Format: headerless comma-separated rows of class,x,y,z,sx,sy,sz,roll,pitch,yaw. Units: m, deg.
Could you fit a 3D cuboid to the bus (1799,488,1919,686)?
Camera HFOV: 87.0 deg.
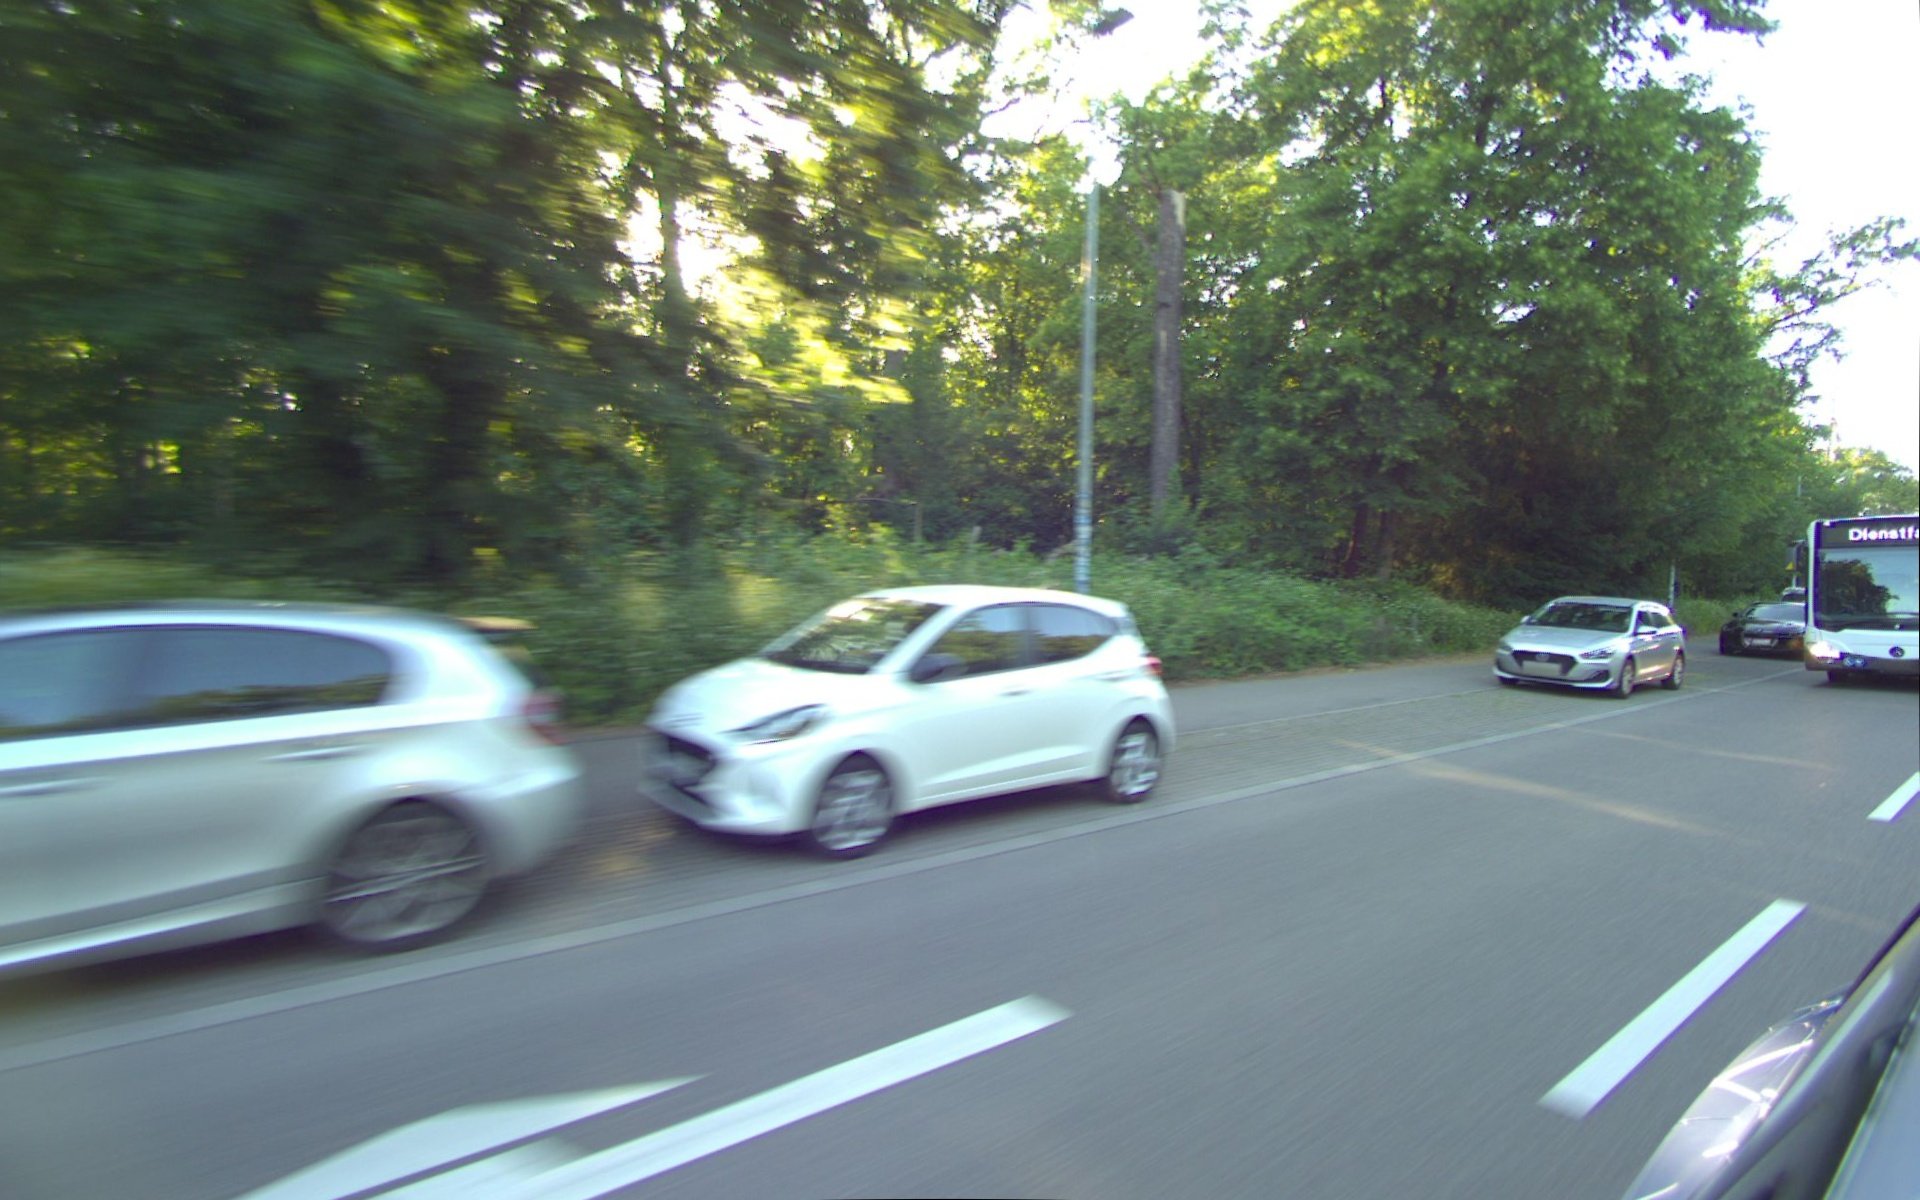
bus,20.184,-0.231,20.860,12.067,3.262,2.708,0,1,-42

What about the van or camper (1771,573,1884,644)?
van or camper,26.787,0.235,31.187,5.044,1.972,1.896,0,2,-41

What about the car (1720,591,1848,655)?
car,22.064,0.569,27.028,4.871,1.459,1.842,0,3,-42

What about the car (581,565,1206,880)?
car,-0.265,0.575,6.920,4.017,1.541,1.732,0,1,-40

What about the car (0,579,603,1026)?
car,-3.716,0.655,3.975,4.017,1.427,1.732,0,2,-40

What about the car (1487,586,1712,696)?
car,10.453,0.565,16.397,4.584,1.459,1.732,0,4,-40
